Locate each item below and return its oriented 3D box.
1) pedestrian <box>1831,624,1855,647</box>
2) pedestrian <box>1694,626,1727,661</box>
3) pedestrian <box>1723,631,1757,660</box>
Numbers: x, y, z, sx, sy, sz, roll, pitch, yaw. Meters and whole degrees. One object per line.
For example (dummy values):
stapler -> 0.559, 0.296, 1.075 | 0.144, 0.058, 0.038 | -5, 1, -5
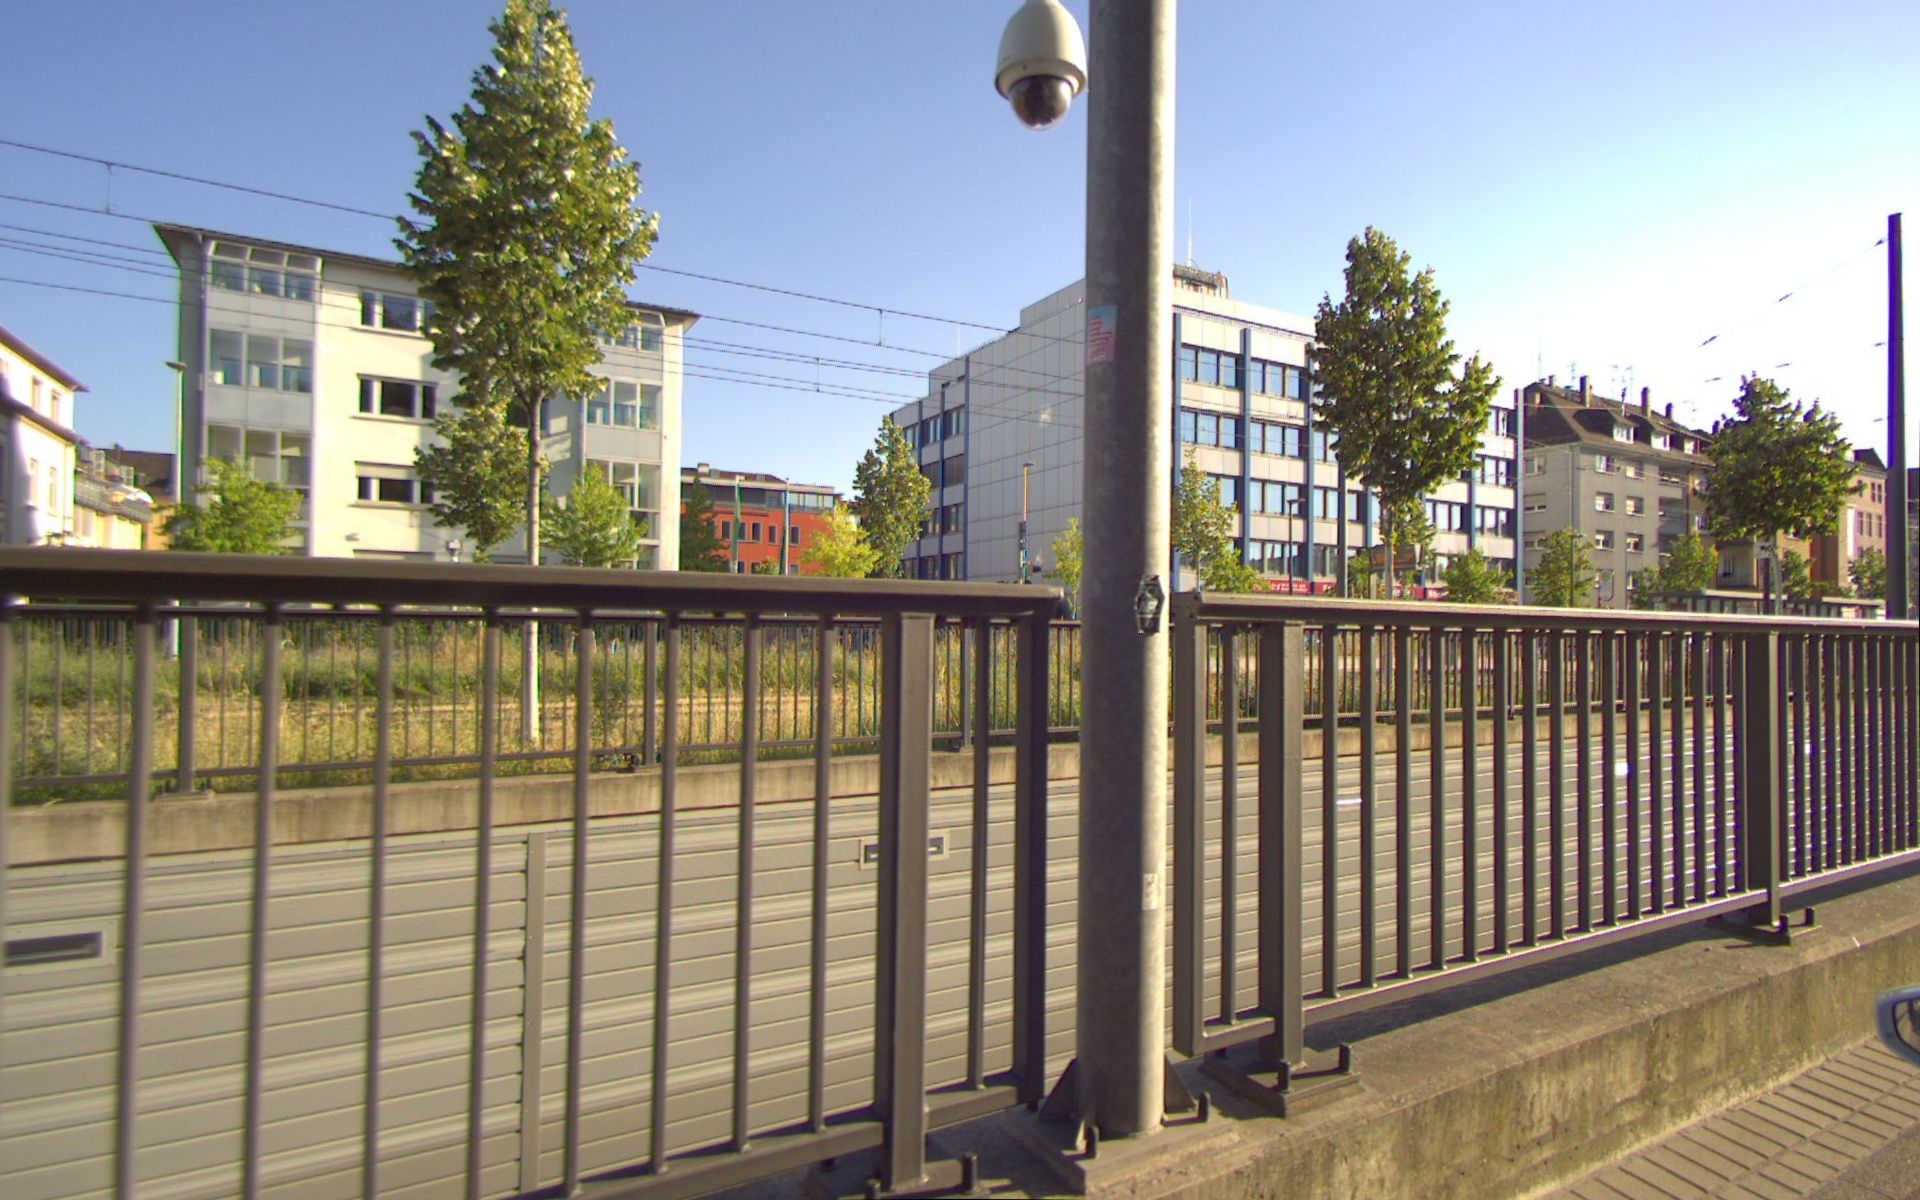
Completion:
pedestrian -> 41.987, 1.697, 47.771 | 0.785, 1.061, 0.624 | 1, -2, -30
pedestrian -> 31.263, 1.809, 41.845 | 0.794, 1.429, 0.834 | 1, -2, -30
pedestrian -> 33.467, 1.944, 43.106 | 0.755, 1.213, 0.929 | 1, -2, -30
